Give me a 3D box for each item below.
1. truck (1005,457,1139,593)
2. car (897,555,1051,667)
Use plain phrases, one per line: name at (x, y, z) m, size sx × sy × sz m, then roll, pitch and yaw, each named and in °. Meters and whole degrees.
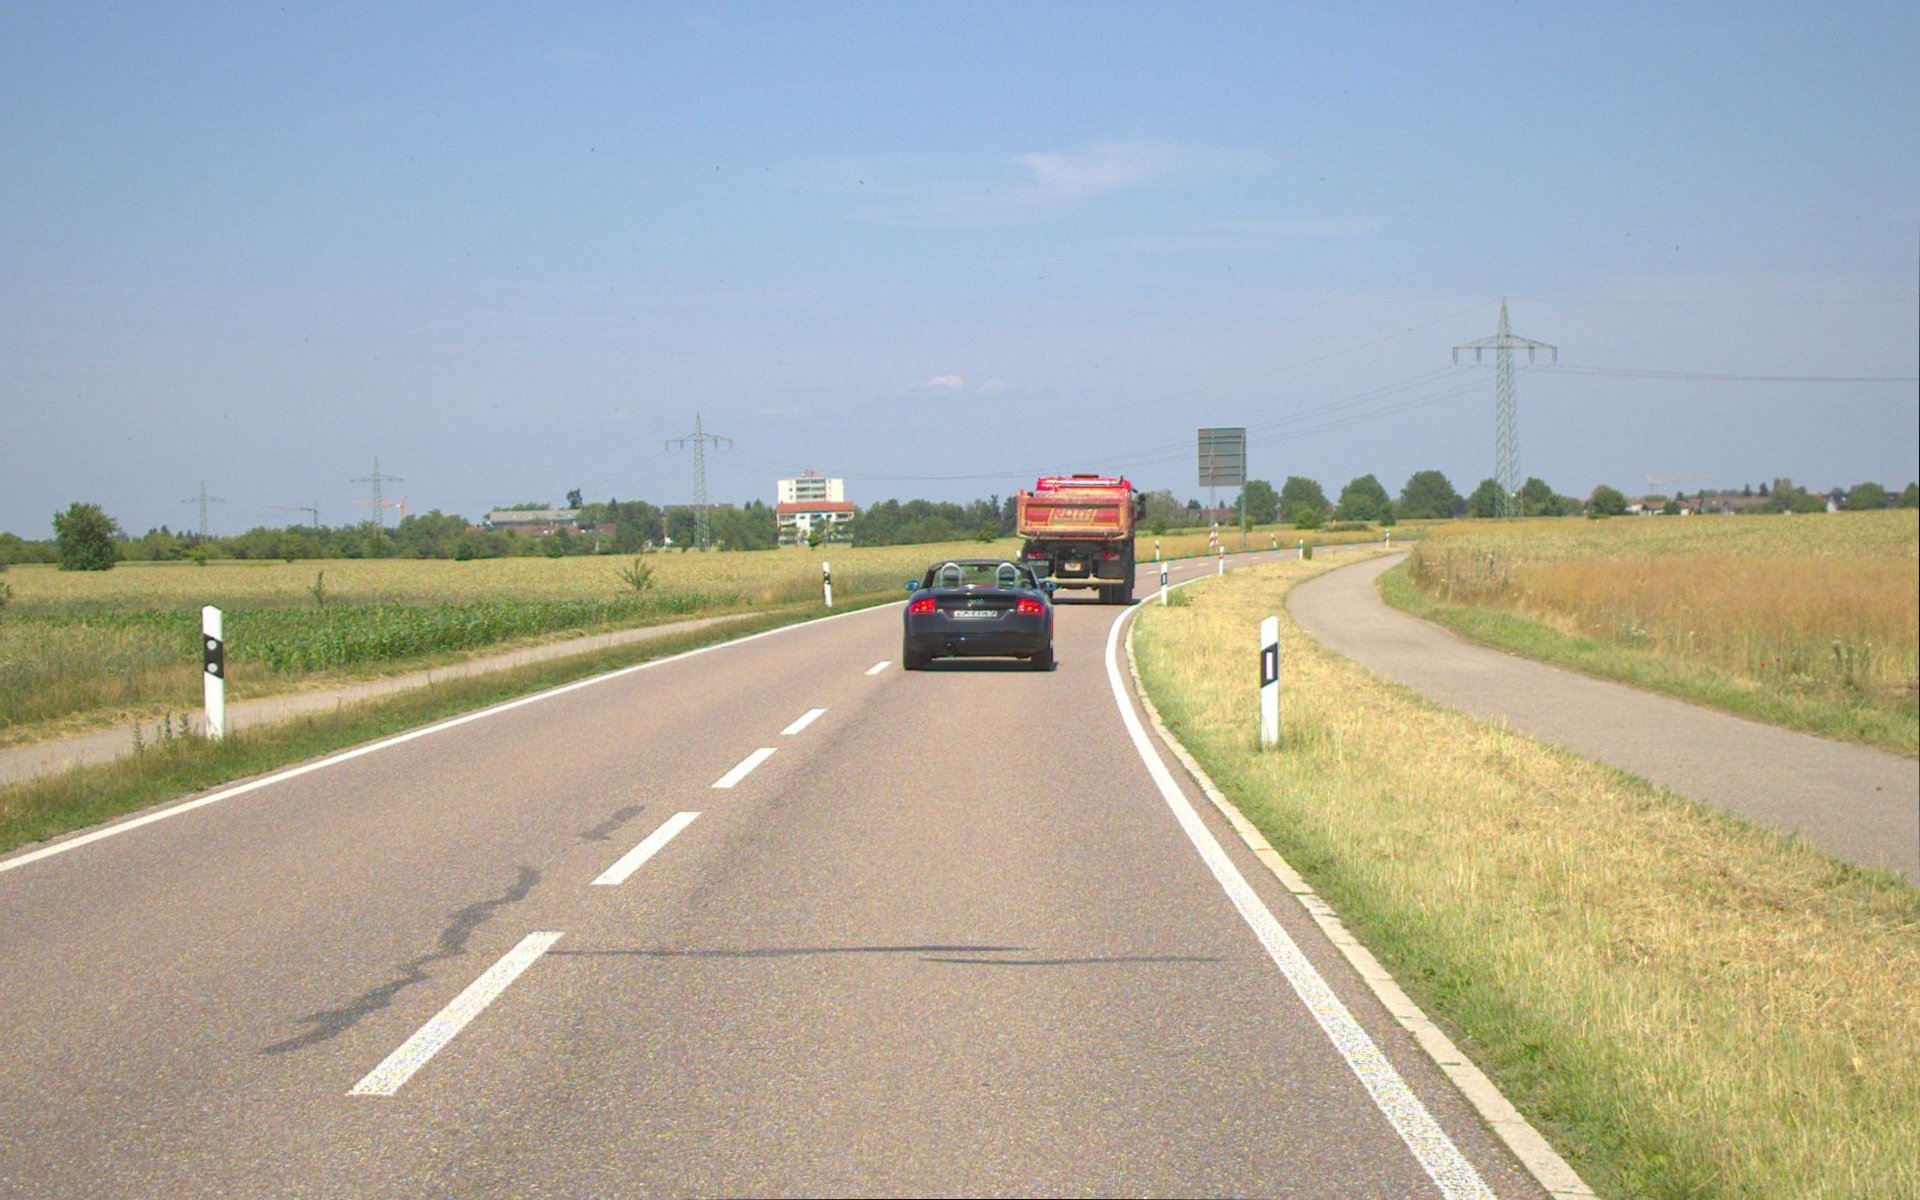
truck at (2.736, -1.734, 81.966) m, size 2.938 × 3.078 × 7.195 m, roll 0°, pitch 0°, yaw 4°
car at (0.209, 0.107, 41.287) m, size 1.744 × 1.275 × 4.000 m, roll 0°, pitch 1°, yaw 2°
